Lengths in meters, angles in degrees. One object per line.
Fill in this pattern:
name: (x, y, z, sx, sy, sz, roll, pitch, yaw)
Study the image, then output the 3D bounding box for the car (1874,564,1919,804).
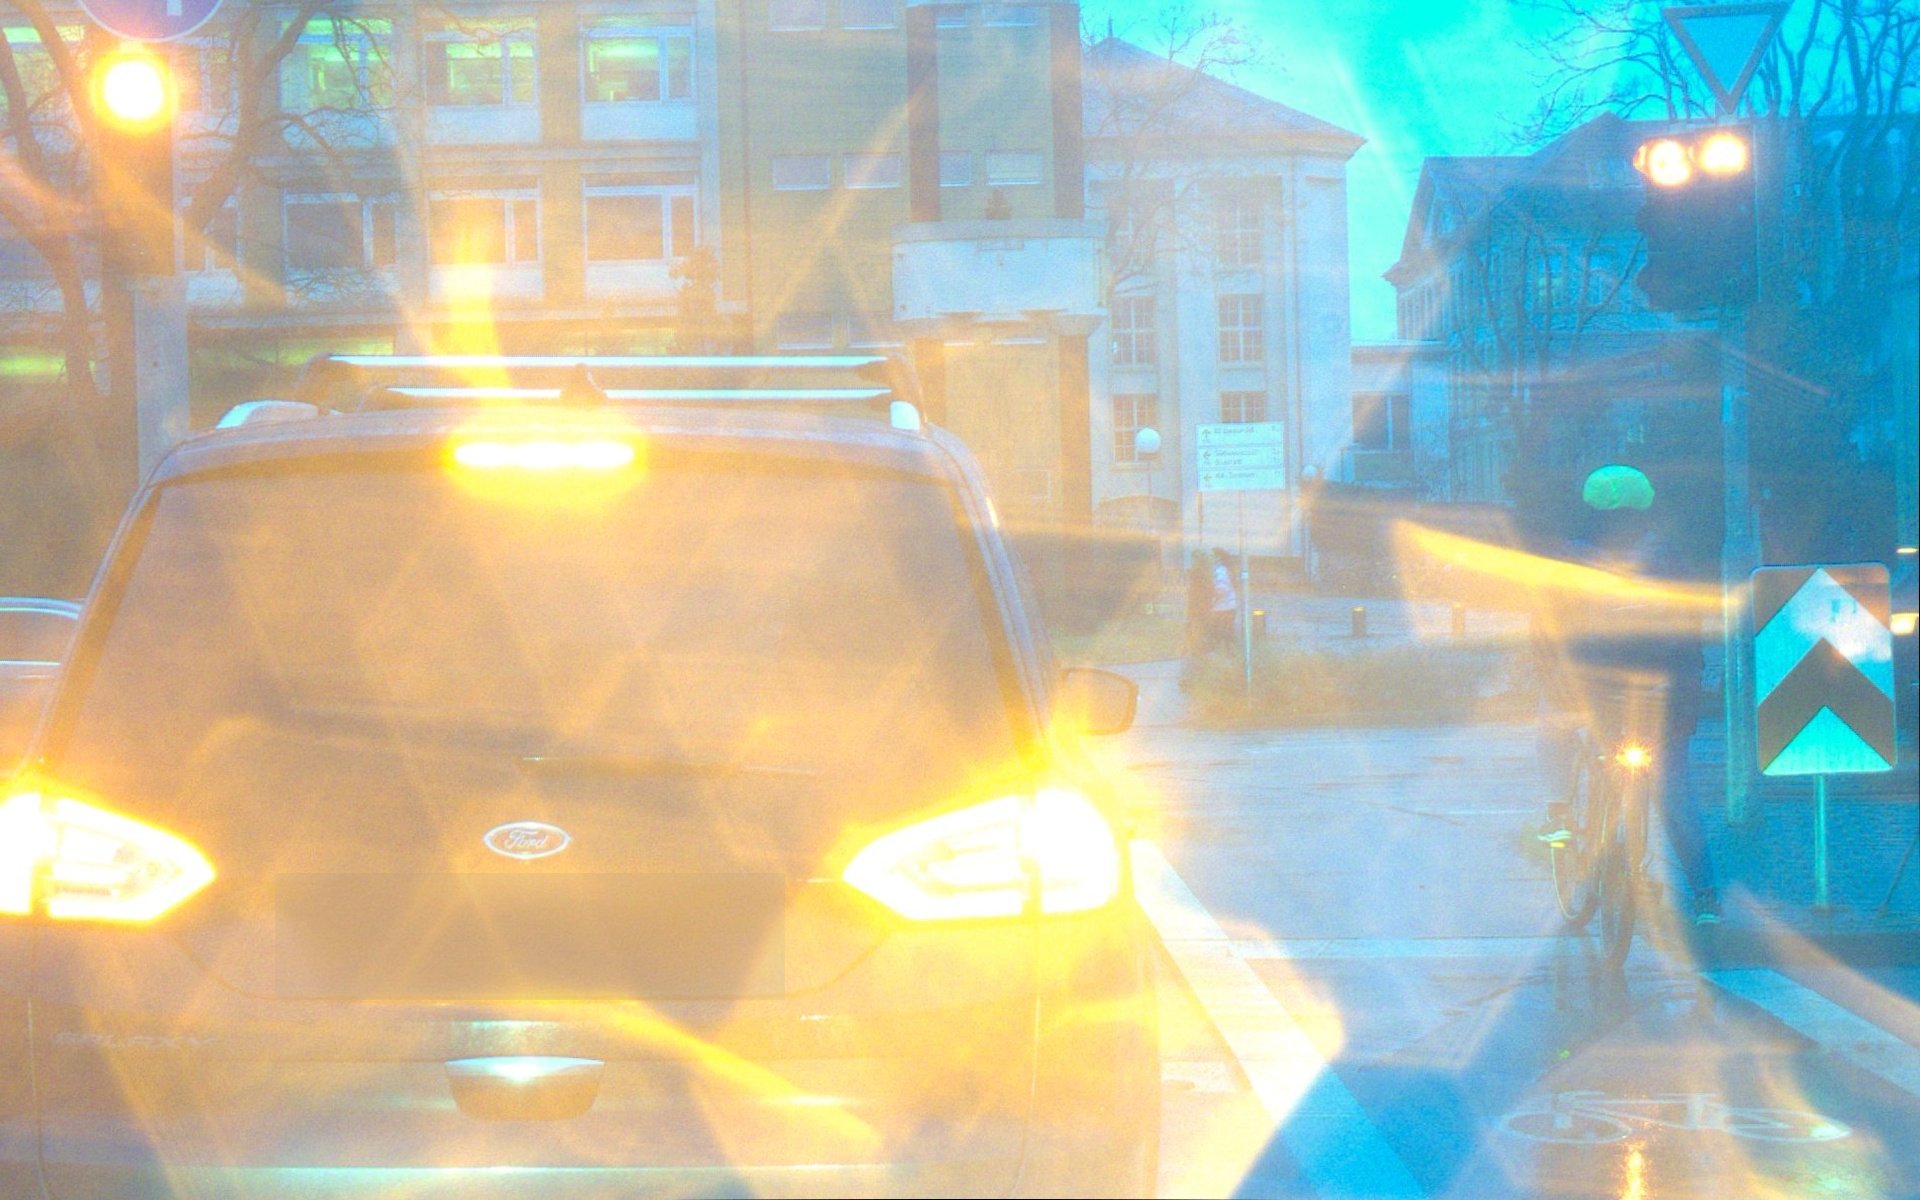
car: (7.940, 0.455, 21.727, 3.956, 1.472, 1.810, -2, 0, 8)

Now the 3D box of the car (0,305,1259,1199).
car: (-0.635, 0.491, 6.560, 1.993, 1.783, 4.000, 1, 1, -1)

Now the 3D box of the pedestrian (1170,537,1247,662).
pedestrian: (3.164, -0.014, 43.734, 0.924, 1.527, 1.043, -2, 1, 4)

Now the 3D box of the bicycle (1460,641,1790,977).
bicycle: (2.370, 0.713, 12.487, 0.783, 1.071, 1.957, 1, 1, -1)

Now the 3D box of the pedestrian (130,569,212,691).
pedestrian: (-10.812, 0.404, 47.141, 0.760, 1.622, 0.721, -2, 1, 20)

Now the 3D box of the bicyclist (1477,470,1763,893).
bicyclist: (2.363, 0.276, 12.436, 0.783, 1.448, 1.134, 1, 0, -1)

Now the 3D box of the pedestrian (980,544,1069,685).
pedestrian: (0.848, 0.184, 45.179, 0.997, 1.793, 0.919, -2, 1, 9)

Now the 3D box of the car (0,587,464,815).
car: (-6.050, 0.713, 24.328, 4.658, 1.472, 1.810, -2, 0, 12)
